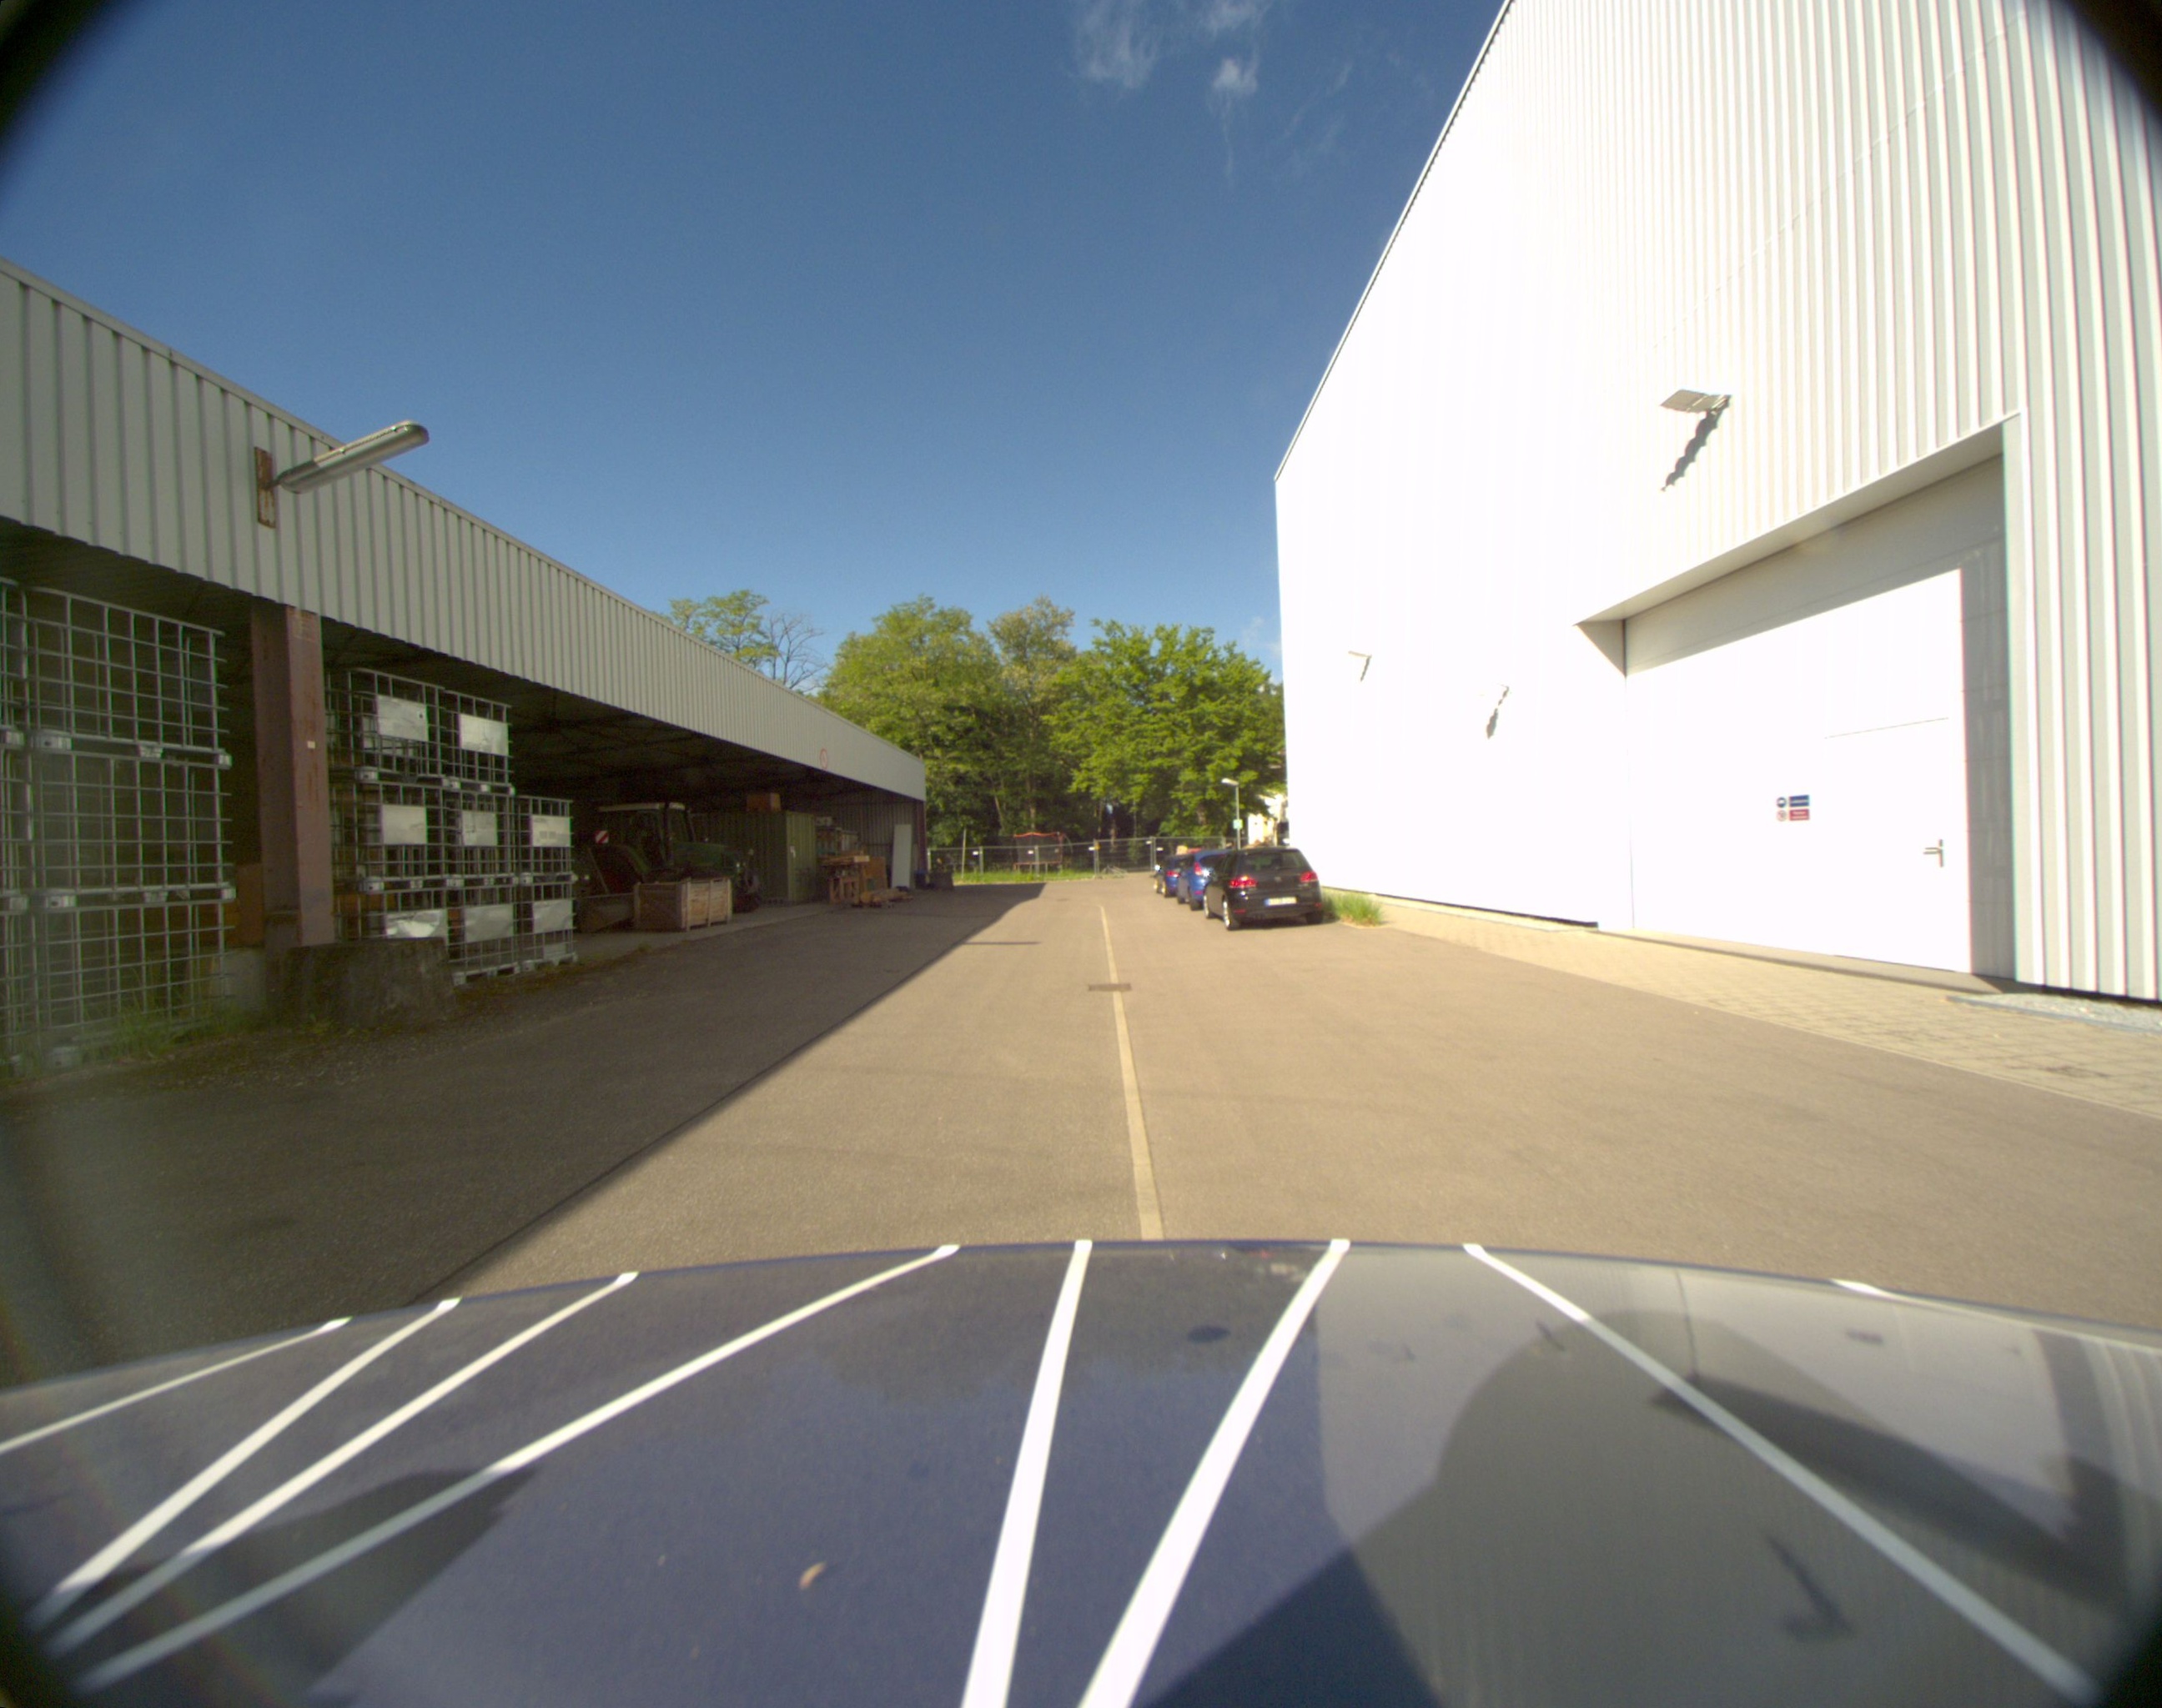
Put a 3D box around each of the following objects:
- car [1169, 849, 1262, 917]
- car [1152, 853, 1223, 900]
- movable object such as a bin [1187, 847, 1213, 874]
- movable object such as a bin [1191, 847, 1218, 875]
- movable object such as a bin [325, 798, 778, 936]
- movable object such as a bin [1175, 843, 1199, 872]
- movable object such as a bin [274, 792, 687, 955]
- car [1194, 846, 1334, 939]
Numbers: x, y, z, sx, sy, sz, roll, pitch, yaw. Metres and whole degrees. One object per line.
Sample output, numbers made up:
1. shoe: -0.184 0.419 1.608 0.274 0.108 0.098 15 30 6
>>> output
1. car: 3.439 0.666 20.094 1.635 1.491 4.094 -5 0 0
2. car: 3.478 0.687 25.542 1.778 1.353 4.053 -3 0 0
3. movable object such as a bin: 6.628 0.341 42.322 1.093 1.431 1.230 -4 2 -5
4. movable object such as a bin: 6.651 0.384 40.989 1.093 1.424 1.230 -4 2 -5
5. movable object such as a bin: -12.984 0.304 19.266 9.214 2.893 3.212 -2 1 2
6. movable object such as a bin: 6.172 0.201 44.221 1.093 1.588 1.230 -3 3 -5
7. movable object such as a bin: -12.224 0.365 15.951 6.200 2.893 3.016 -2 1 2
8. car: 3.464 0.648 15.197 1.759 1.491 4.294 -4 0 1
